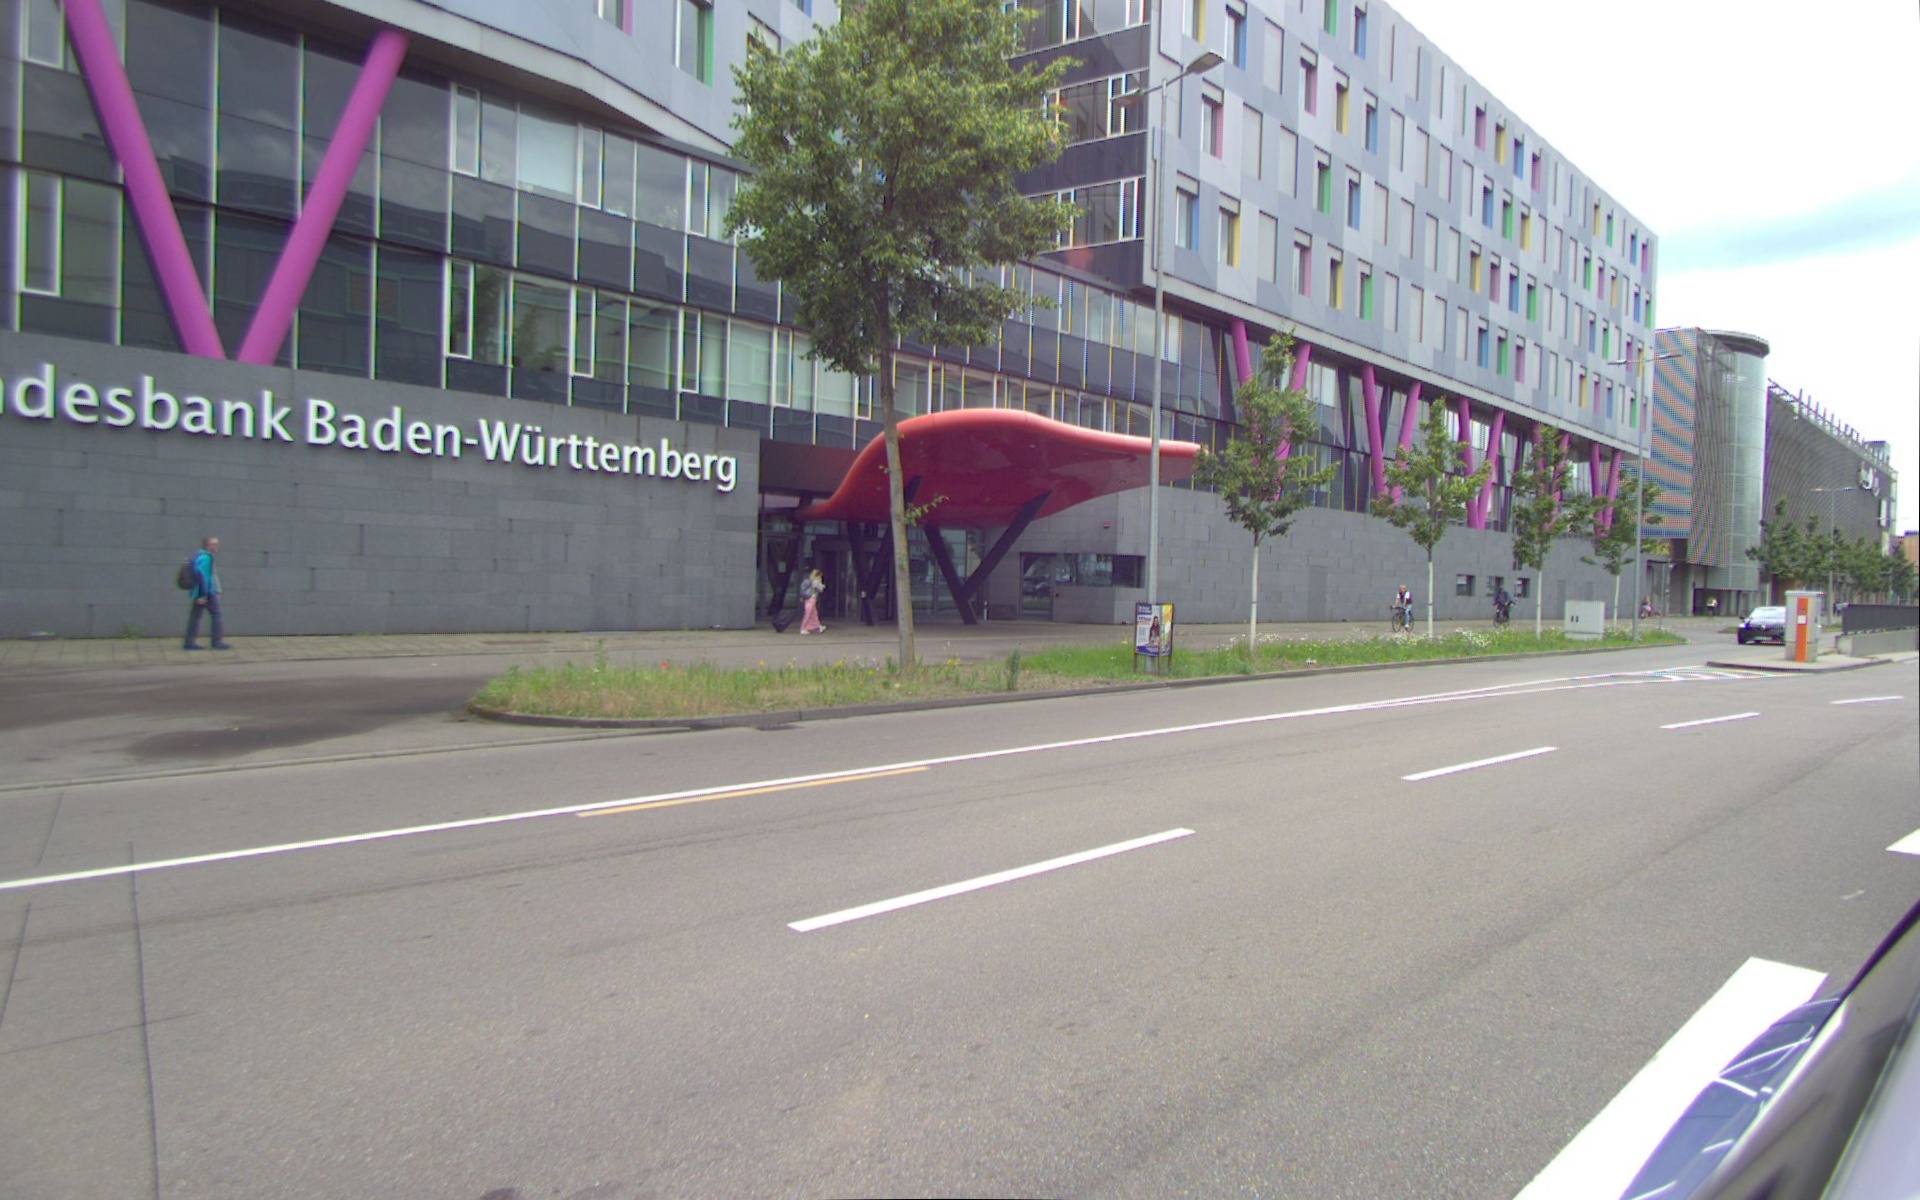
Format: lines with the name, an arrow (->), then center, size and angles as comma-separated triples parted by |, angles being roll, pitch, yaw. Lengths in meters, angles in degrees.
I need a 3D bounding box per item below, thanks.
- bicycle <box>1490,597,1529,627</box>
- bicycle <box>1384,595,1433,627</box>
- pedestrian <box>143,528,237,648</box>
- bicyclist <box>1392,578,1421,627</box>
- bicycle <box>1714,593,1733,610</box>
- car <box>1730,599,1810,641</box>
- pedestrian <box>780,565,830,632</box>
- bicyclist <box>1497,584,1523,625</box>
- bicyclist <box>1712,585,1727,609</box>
bicycle -> 24.944, 0.550, 45.953 | 2.303, 1.173, 0.800 | 6, -3, -42
bicycle -> 16.998, 0.431, 38.319 | 2.304, 1.173, 0.800 | 1, 0, -42
pedestrian -> -12.148, -0.192, 15.957 | 1.116, 1.792, 1.054 | 1, 1, -40
bicyclist -> 16.847, 0.078, 38.183 | 0.692, 1.825, 0.783 | 2, -1, -41
bicycle -> 57.455, 0.099, 76.129 | 2.184, 1.209, 0.783 | 1, 1, -45
car -> 30.471, 0.715, 38.023 | 4.266, 1.479, 1.566 | 0, 2, -41
pedestrian -> -3.806, -0.048, 24.781 | 0.898, 1.602, 0.786 | 1, 1, -40
bicyclist -> 25.005, 0.200, 46.010 | 0.692, 1.826, 0.783 | 6, -4, -41
bicyclist -> 57.474, -0.231, 76.590 | 0.770, 1.809, 0.959 | 2, 1, 44
